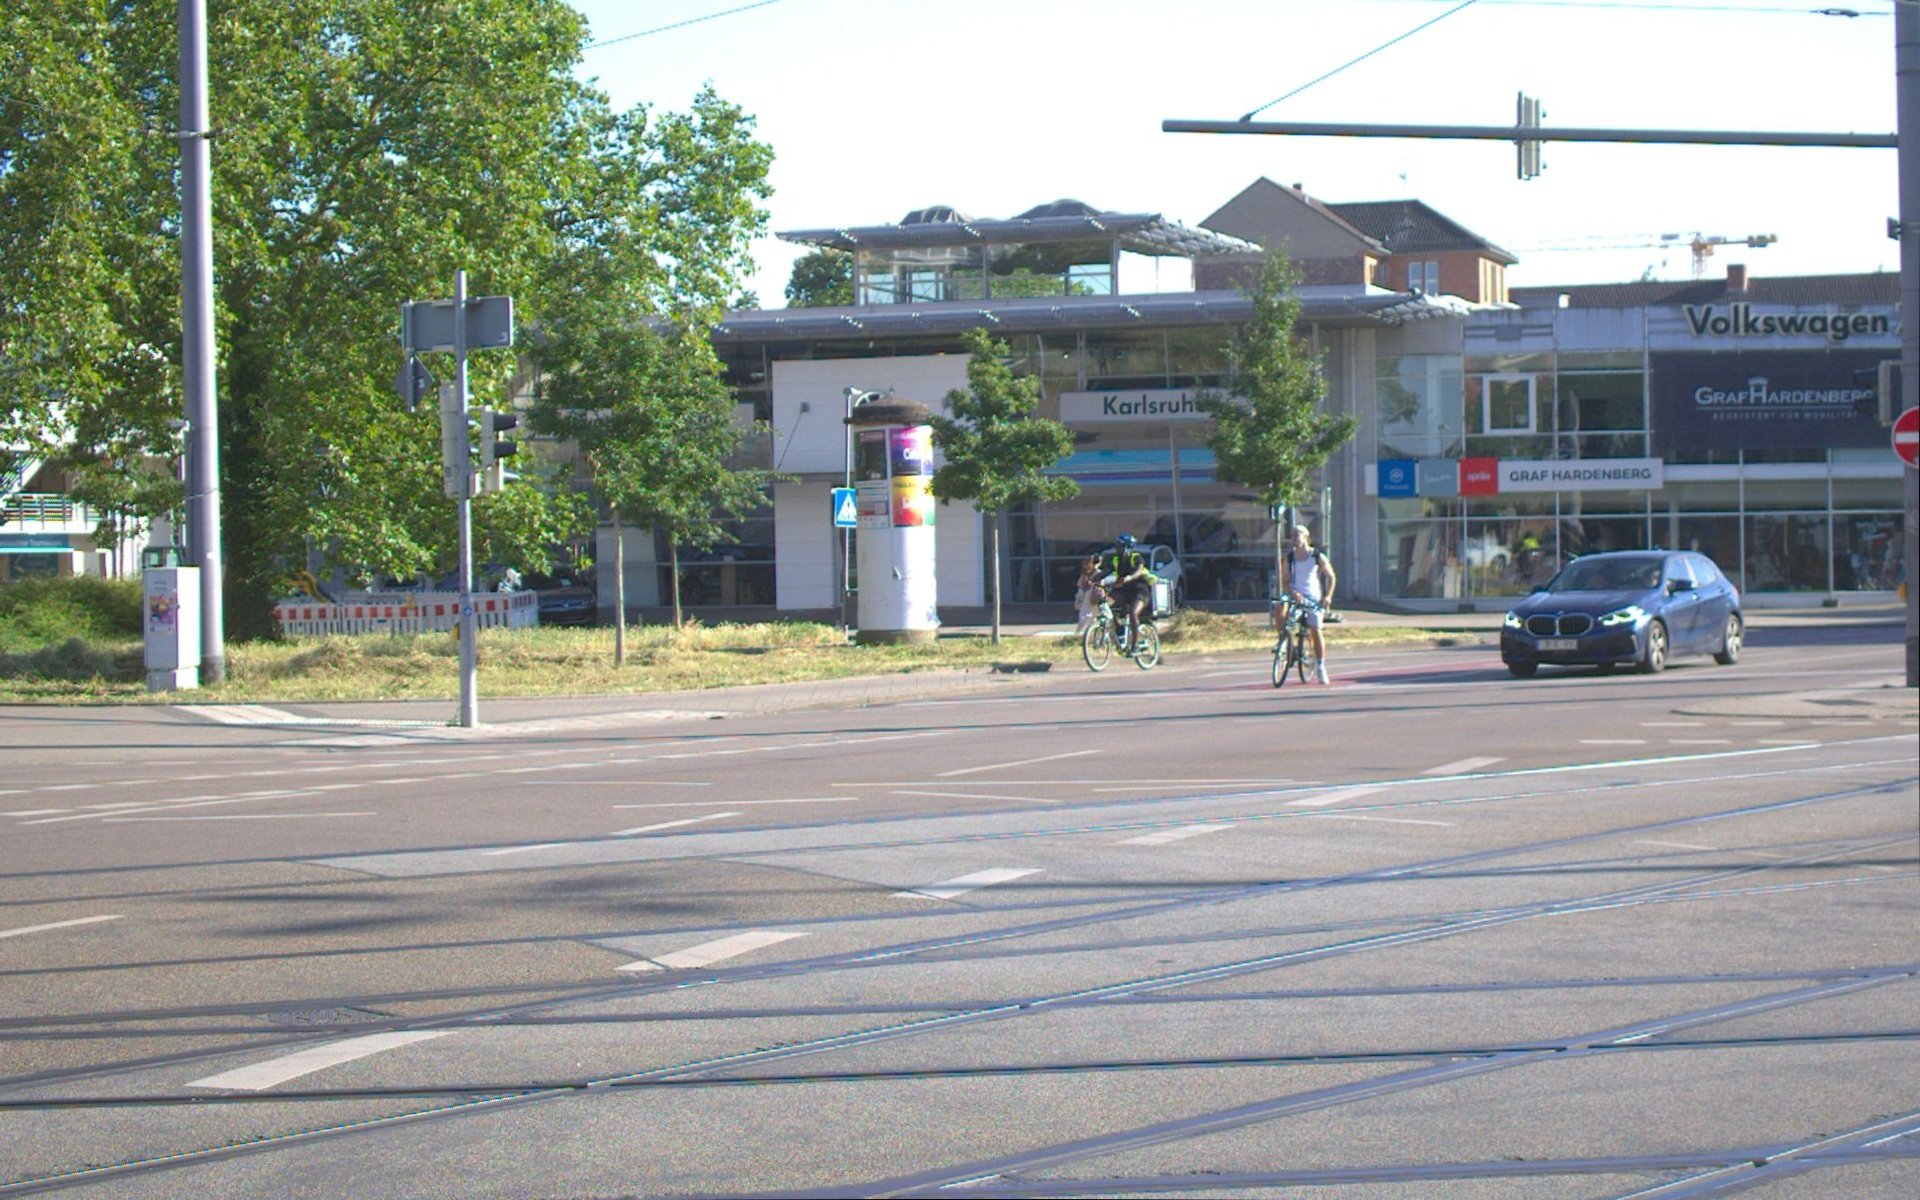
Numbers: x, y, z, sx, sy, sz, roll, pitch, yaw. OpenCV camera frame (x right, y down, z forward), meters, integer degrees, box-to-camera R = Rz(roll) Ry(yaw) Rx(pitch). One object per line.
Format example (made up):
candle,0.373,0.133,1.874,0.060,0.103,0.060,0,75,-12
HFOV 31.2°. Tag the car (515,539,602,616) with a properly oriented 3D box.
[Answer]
car,-10.028,-0.586,85.733,1.794,1.504,4.003,2,6,-11

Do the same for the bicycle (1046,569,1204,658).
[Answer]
bicycle,2.246,0.161,46.415,1.032,1.119,2.527,3,2,30

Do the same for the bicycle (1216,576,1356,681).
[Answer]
bicycle,3.828,0.319,40.109,1.032,1.119,2.529,-2,0,19

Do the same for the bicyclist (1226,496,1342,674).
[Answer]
bicyclist,3.773,-0.181,39.993,1.032,2.007,1.143,-2,0,19

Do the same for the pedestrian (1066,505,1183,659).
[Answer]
pedestrian,2.222,-0.256,46.356,1.032,2.006,1.268,3,2,30

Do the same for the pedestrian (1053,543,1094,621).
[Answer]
pedestrian,2.225,-0.354,67.439,0.721,1.510,0.831,0,1,8

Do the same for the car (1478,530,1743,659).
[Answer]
car,7.786,-0.097,40.859,1.996,1.448,3.994,0,1,28

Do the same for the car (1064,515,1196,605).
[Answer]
car,4.052,-0.963,81.445,1.995,2.006,3.996,3,2,20

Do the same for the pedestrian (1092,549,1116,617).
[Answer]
pedestrian,2.815,-0.333,67.357,0.410,1.310,0.573,0,1,8
